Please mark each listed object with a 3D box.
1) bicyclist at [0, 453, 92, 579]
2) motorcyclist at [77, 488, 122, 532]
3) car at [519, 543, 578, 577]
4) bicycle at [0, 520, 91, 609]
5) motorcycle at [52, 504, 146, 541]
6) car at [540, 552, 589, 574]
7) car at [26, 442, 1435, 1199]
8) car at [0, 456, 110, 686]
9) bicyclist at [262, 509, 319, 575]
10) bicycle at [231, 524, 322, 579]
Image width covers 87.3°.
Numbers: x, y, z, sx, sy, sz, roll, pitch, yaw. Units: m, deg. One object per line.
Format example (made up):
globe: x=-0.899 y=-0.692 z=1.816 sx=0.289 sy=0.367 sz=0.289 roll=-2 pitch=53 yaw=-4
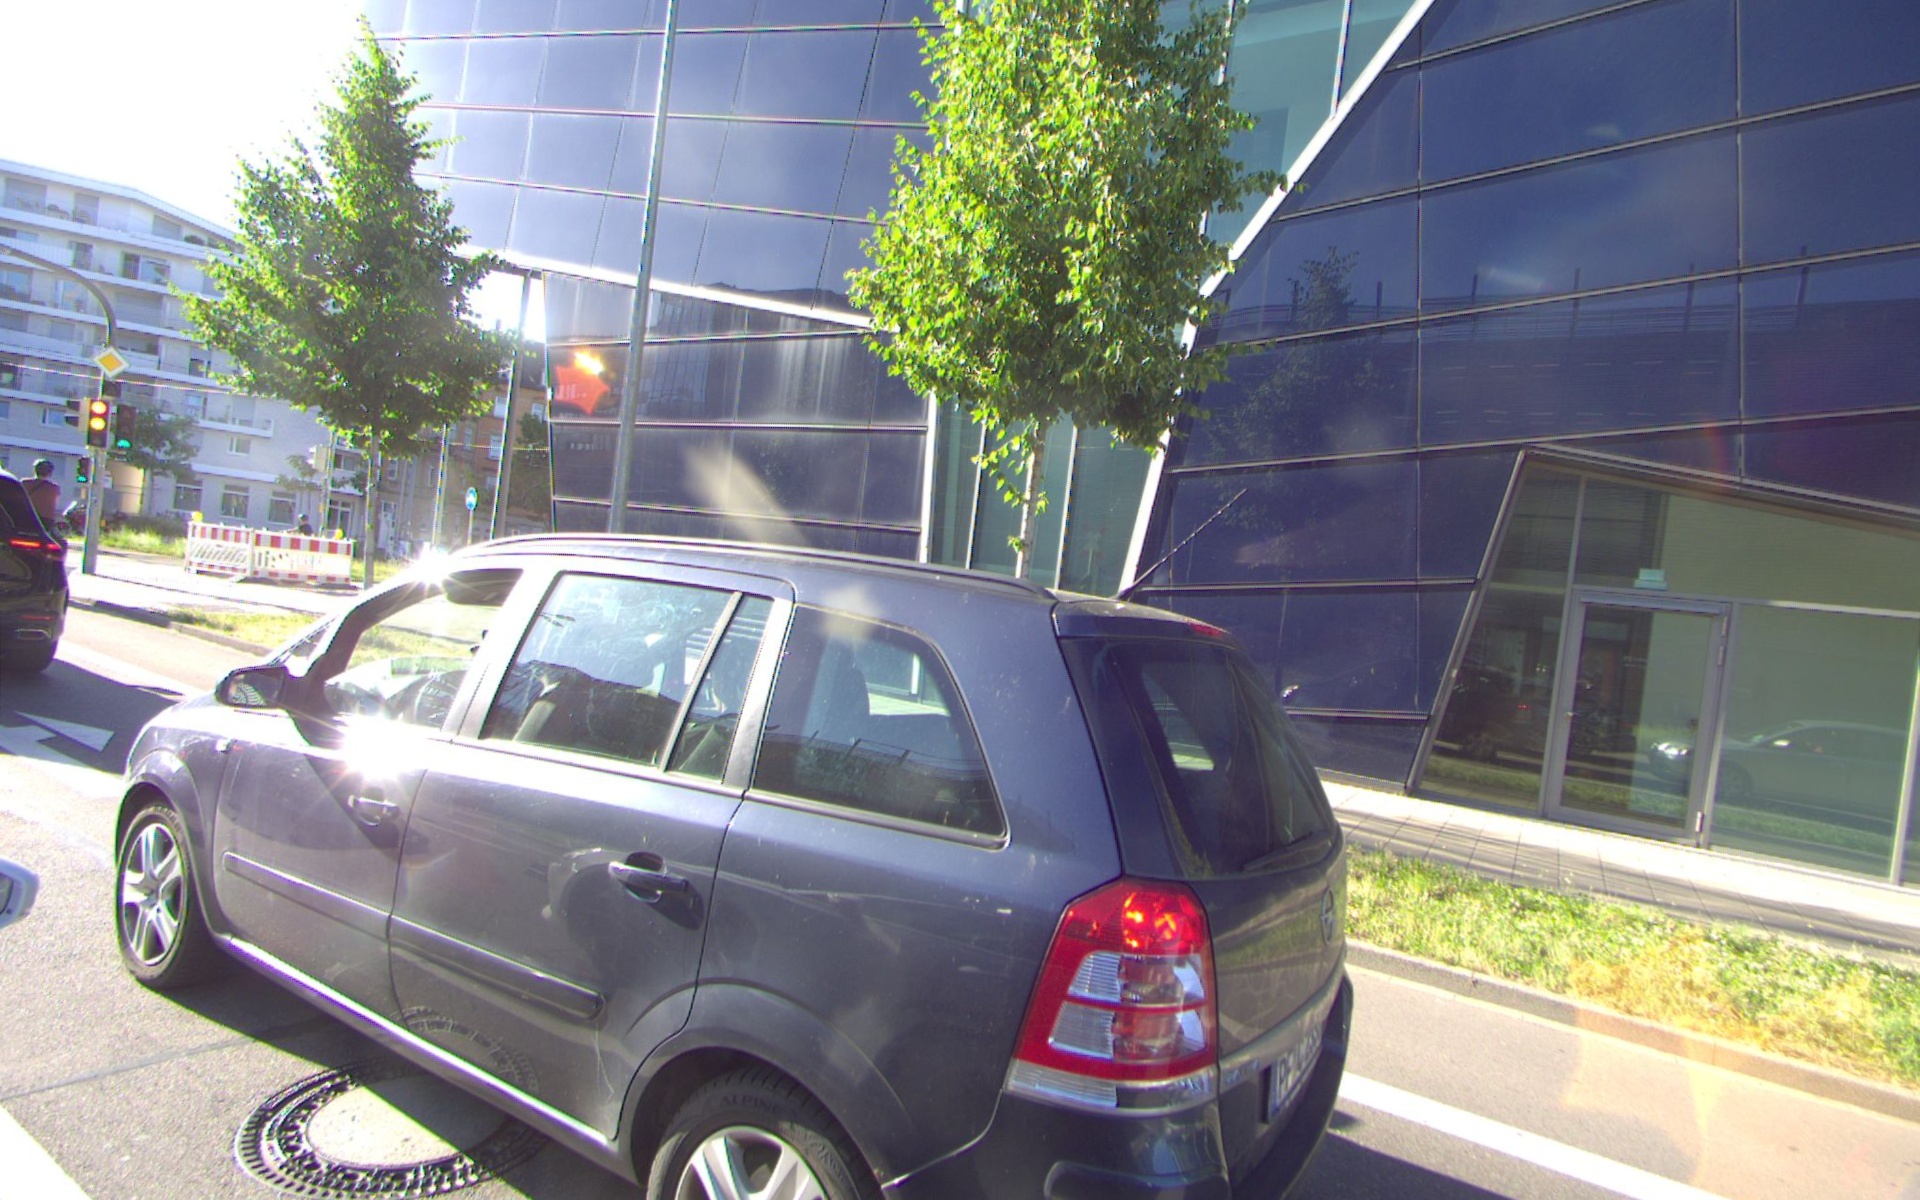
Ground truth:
bicyclist: x=-13.098 y=-1.197 z=14.416 sx=0.956 sy=1.663 sz=0.654 roll=8 pitch=1 yaw=35
motorcyclist: x=-32.884 y=-3.447 z=38.445 sx=1.153 sy=1.500 sz=0.925 roll=7 pitch=1 yaw=35
car: x=-36.262 y=-3.513 z=88.798 sx=4.538 sy=2.339 sz=1.991 roll=7 pitch=0 yaw=-21
bicycle: x=-13.202 y=-0.532 z=14.396 sx=1.899 sy=1.056 sz=0.654 roll=8 pitch=1 yaw=35
motorcycle: x=-32.921 y=-2.940 z=38.496 sx=1.153 sy=1.013 sz=2.454 roll=7 pitch=0 yaw=35
car: x=-31.737 y=-3.000 z=80.667 sx=3.944 sy=1.371 sz=1.990 roll=6 pitch=0 yaw=41
car: x=-0.973 y=0.592 z=3.205 sx=4.190 sy=1.715 sz=1.749 roll=7 pitch=-2 yaw=32
car: x=-9.343 y=-0.496 z=8.432 sx=4.299 sy=1.735 sz=2.007 roll=7 pitch=-1 yaw=32
bicyclist: x=-19.044 y=-1.635 z=28.628 sx=0.912 sy=1.727 sz=0.768 roll=7 pitch=1 yaw=6
bicycle: x=-19.466 y=-1.386 z=28.677 sx=2.042 sy=1.278 sz=0.768 roll=7 pitch=1 yaw=6
